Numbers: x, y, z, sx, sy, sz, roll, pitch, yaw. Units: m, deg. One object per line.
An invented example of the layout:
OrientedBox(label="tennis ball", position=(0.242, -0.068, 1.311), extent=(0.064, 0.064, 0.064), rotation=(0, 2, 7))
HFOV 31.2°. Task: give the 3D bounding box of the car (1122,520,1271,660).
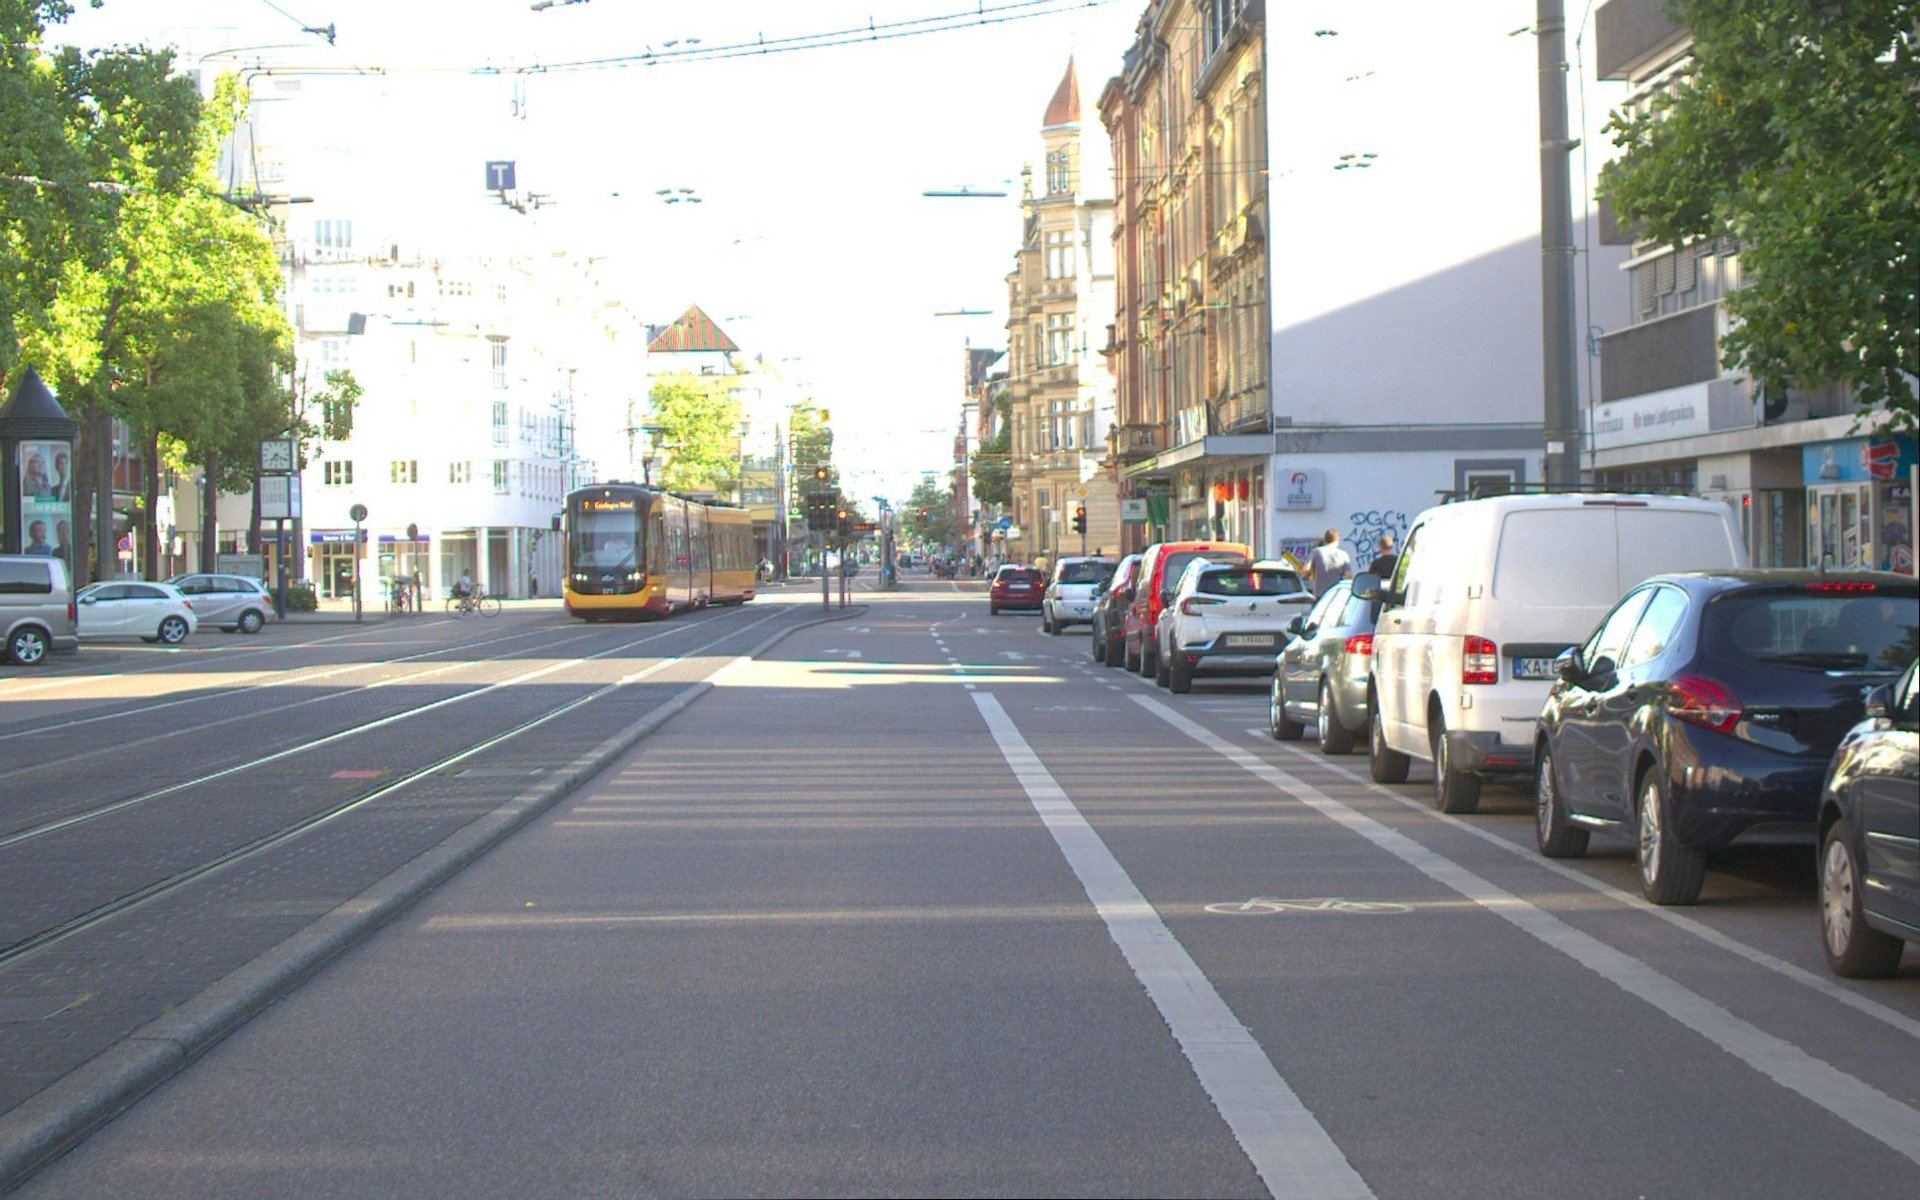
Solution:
OrientedBox(label="car", position=(3.191, -0.180, 47.072), extent=(1.621, 1.807, 4.083), rotation=(1, 1, -1))

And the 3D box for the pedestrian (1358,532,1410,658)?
OrientedBox(label="pedestrian", position=(5.858, -0.074, 47.489), extent=(0.624, 1.716, 0.628), rotation=(-1, 1, 0))

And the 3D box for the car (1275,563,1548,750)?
OrientedBox(label="car", position=(3.669, 0.416, 28.530), extent=(1.621, 1.366, 3.931), rotation=(1, 1, -1))

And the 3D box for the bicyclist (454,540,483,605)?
OrientedBox(label="bicyclist", position=(-15.513, -0.866, 108.530), extent=(0.722, 2.007, 0.700), rotation=(2, 1, 6))

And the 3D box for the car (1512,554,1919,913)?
OrientedBox(label="car", position=(3.790, 0.534, 16.397), extent=(1.621, 1.468, 3.971), rotation=(0, 1, -1))

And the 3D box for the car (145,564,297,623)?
OrientedBox(label="car", position=(-19.283, -0.168, 89.737), extent=(3.519, 1.476, 1.582), rotation=(0, 1, -33))

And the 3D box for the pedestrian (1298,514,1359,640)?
OrientedBox(label="pedestrian", position=(5.061, -0.321, 47.296), extent=(0.730, 1.716, 0.835), rotation=(-1, 1, 0))

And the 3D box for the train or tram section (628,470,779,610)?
OrientedBox(label="train or tram section", position=(-7.580, -1.822, 103.513), extent=(2.692, 3.865, 12.843), rotation=(2, 1, 4))

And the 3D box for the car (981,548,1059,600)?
OrientedBox(label="car", position=(1.735, -0.778, 100.382), extent=(2.065, 1.384, 4.225), rotation=(2, 1, -1))

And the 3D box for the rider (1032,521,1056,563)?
OrientedBox(label="rider", position=(2.952, -2.048, 121.181), extent=(0.711, 1.476, 0.886), rotation=(1, 1, 9))

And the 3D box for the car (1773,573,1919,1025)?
OrientedBox(label="car", position=(3.903, 0.657, 11.013), extent=(1.621, 1.427, 3.985), rotation=(0, 1, 0))

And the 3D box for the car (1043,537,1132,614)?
OrientedBox(label="car", position=(2.705, -0.548, 73.721), extent=(1.621, 1.550, 4.083), rotation=(1, 1, -1))

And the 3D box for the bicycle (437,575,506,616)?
OrientedBox(label="bicycle", position=(-15.434, -0.153, 108.541), extent=(2.020, 1.235, 0.700), rotation=(2, 1, 6))

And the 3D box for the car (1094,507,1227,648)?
OrientedBox(label="car", position=(2.943, -0.367, 51.177), extent=(1.621, 2.000, 3.831), rotation=(1, 1, -1))

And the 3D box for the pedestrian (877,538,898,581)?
OrientedBox(label="pedestrian", position=(-3.447, -1.944, 163.661), extent=(0.920, 2.007, 0.759), rotation=(2, 1, -1))

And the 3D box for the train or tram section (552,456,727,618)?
OrientedBox(label="train or tram section", position=(-8.346, -1.685, 91.069), extent=(2.692, 3.946, 12.089), rotation=(2, 1, 4))

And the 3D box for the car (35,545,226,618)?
OrientedBox(label="car", position=(-19.122, -0.426, 79.301), extent=(3.869, 1.622, 1.876), rotation=(0, 1, -32))

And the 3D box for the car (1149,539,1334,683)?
OrientedBox(label="car", position=(3.298, 0.087, 40.940), extent=(1.723, 1.562, 4.083), rotation=(-2, 1, -1))

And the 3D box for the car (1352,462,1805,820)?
OrientedBox(label="car", position=(3.849, 0.186, 22.221), extent=(1.971, 2.007, 4.558), rotation=(-2, 1, -1))

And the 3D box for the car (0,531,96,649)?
OrientedBox(label="car", position=(-18.067, -0.192, 60.022), extent=(5.252, 2.036, 2.418), rotation=(1, 0, -33))
